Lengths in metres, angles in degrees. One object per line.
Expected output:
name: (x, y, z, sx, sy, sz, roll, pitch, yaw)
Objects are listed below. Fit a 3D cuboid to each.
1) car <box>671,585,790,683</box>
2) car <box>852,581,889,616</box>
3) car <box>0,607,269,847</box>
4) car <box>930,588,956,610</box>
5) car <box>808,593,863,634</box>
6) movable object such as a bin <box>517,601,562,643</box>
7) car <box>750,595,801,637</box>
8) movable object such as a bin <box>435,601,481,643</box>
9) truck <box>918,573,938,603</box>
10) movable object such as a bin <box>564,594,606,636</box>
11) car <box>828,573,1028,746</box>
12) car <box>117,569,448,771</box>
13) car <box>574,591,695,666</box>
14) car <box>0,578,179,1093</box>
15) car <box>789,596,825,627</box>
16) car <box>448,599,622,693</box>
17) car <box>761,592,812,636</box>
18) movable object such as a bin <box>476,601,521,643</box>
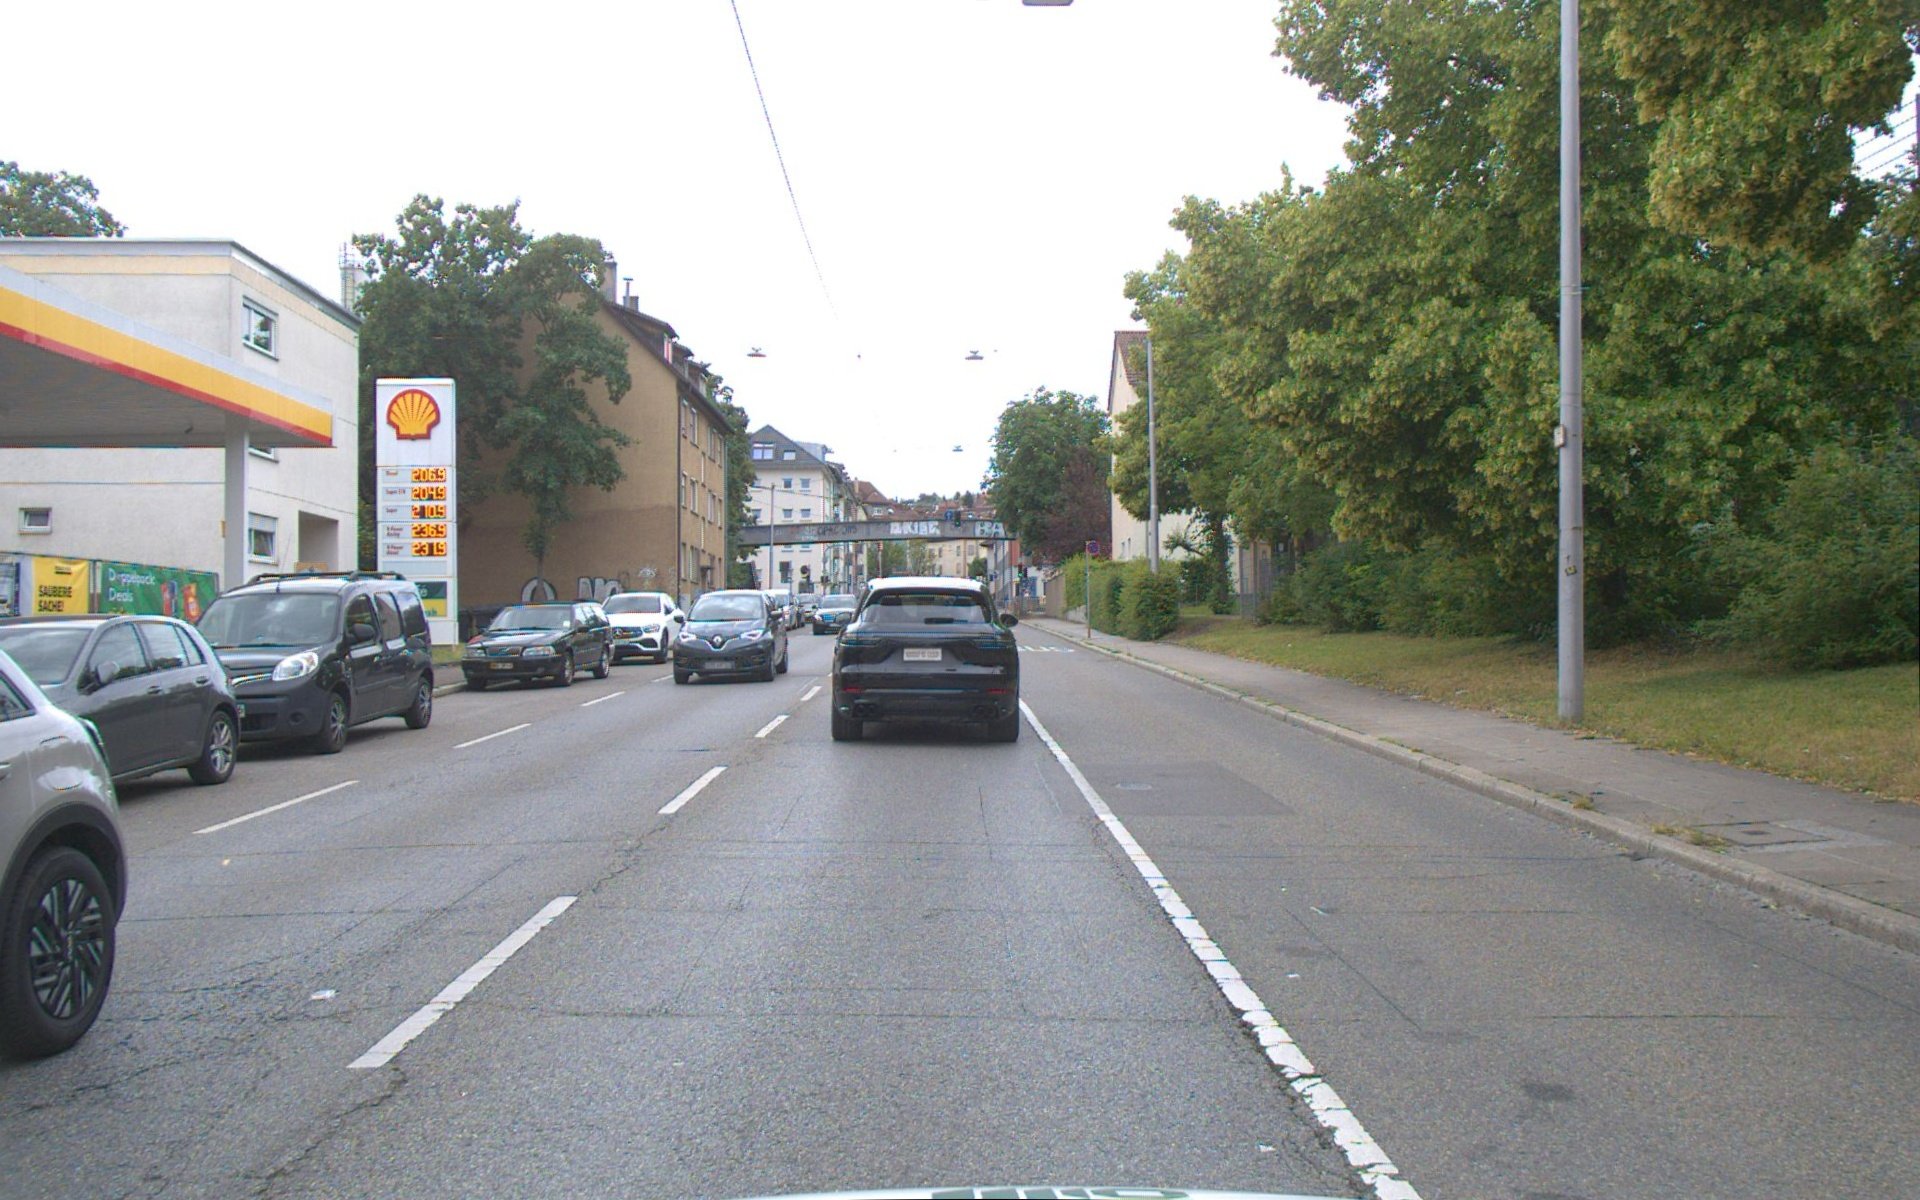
car: (-3.995, 0.548, 29.316, 1.649, 1.582, 3.718, -2, 0, -2)
car: (-5.038, -0.104, 93.450, 1.891, 1.934, 4.588, -1, 0, -1)
car: (-7.010, 0.841, 12.568, 1.754, 1.475, 4.217, -2, 0, -1)
car: (-1.133, -0.067, 110.184, 1.706, 1.424, 4.000, 0, 1, -1)
car: (-4.752, 0.484, 63.561, 1.741, 1.492, 4.499, -1, 0, 0)
movable object such as a bin: (-14.822, 0.772, 58.307, 1.365, 1.453, 0.912, 0, 0, -3)
car: (-7.311, 0.611, 65.874, 1.716, 1.557, 4.097, -2, 0, -3)
movable object such as a bin: (-17.630, 0.757, 58.140, 1.365, 1.453, 0.912, 0, 0, -3)
truck: (-3.804, -1.414, 195.722, 2.221, 3.484, 9.876, -1, 0, -1)
movable object such as a bin: (-13.173, 0.518, 58.093, 1.256, 1.453, 1.278, 0, 0, -5)
car: (-0.327, 0.546, 18.175, 1.953, 1.691, 4.000, 0, 1, -1)
car: (-7.190, 0.651, 18.144, 1.814, 1.867, 4.700, -2, 0, -2)
car: (-7.509, 0.611, 38.618, 1.876, 1.605, 4.699, -1, 0, 0)
car: (-3.780, 0.742, 4.130, 1.761, 1.551, 3.999, -2, 0, -1)
car: (-8.379, 0.615, 90.909, 1.711, 1.596, 3.906, -2, 0, -3)
car: (-7.478, 0.764, 29.585, 1.760, 1.456, 4.744, -2, 0, 1)
car: (-7.433, 0.590, 71.223, 1.740, 1.784, 4.556, -2, 0, -1)
movable object such as a bin: (-16.231, 0.763, 58.230, 1.365, 1.453, 0.912, 0, 0, -3)
